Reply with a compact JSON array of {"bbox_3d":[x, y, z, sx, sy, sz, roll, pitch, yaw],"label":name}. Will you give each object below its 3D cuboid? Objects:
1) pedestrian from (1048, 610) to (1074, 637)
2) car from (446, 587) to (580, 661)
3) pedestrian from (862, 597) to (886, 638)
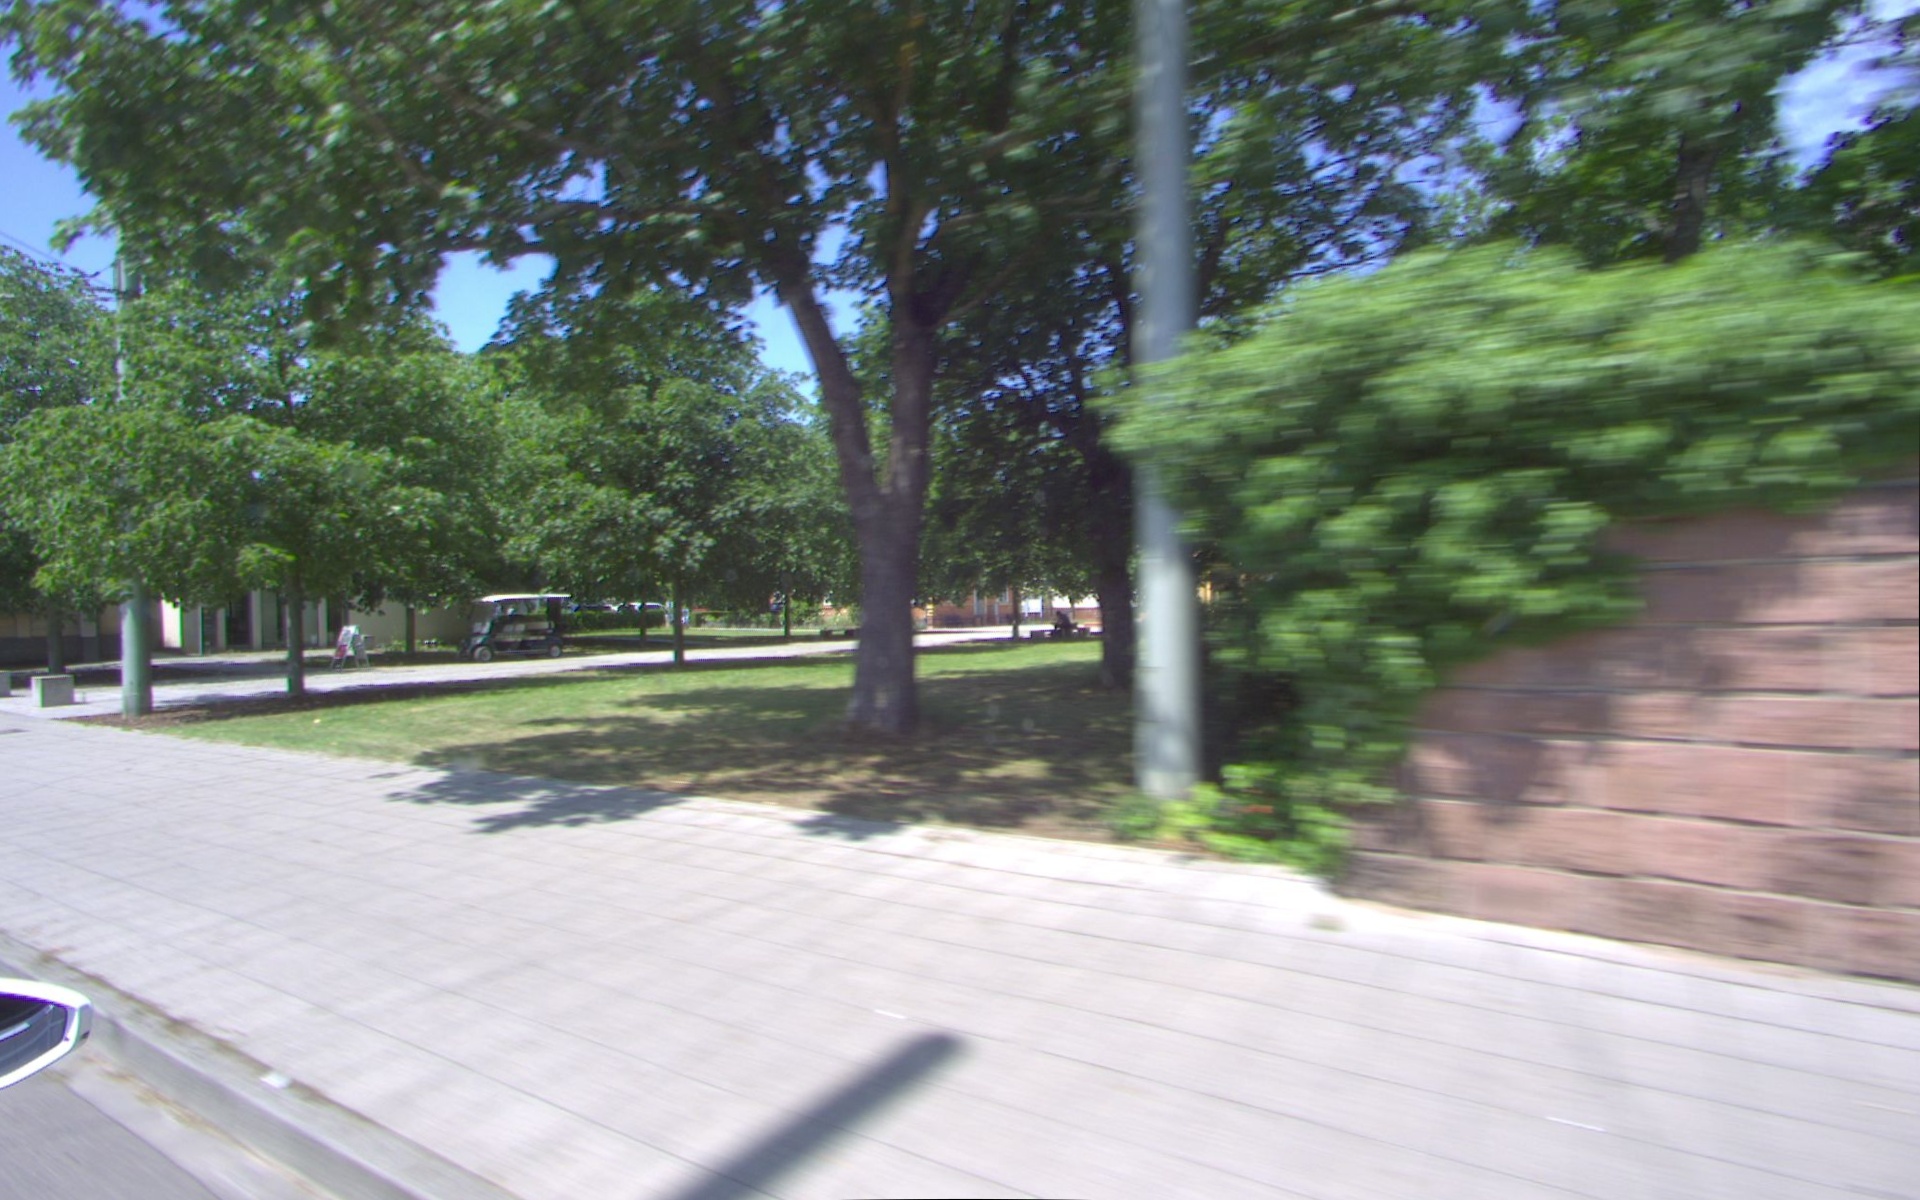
[{"bbox_3d":[4.283,0.985,42.555,0.819,1.129,0.792,0,1,33],"label":"pedestrian"},{"bbox_3d":[-13.131,0.684,29.574,1.444,2.040,3.322,-2,0,34],"label":"car"},{"bbox_3d":[-3.841,0.785,44.889,0.758,1.817,0.770,0,1,31],"label":"pedestrian"}]
